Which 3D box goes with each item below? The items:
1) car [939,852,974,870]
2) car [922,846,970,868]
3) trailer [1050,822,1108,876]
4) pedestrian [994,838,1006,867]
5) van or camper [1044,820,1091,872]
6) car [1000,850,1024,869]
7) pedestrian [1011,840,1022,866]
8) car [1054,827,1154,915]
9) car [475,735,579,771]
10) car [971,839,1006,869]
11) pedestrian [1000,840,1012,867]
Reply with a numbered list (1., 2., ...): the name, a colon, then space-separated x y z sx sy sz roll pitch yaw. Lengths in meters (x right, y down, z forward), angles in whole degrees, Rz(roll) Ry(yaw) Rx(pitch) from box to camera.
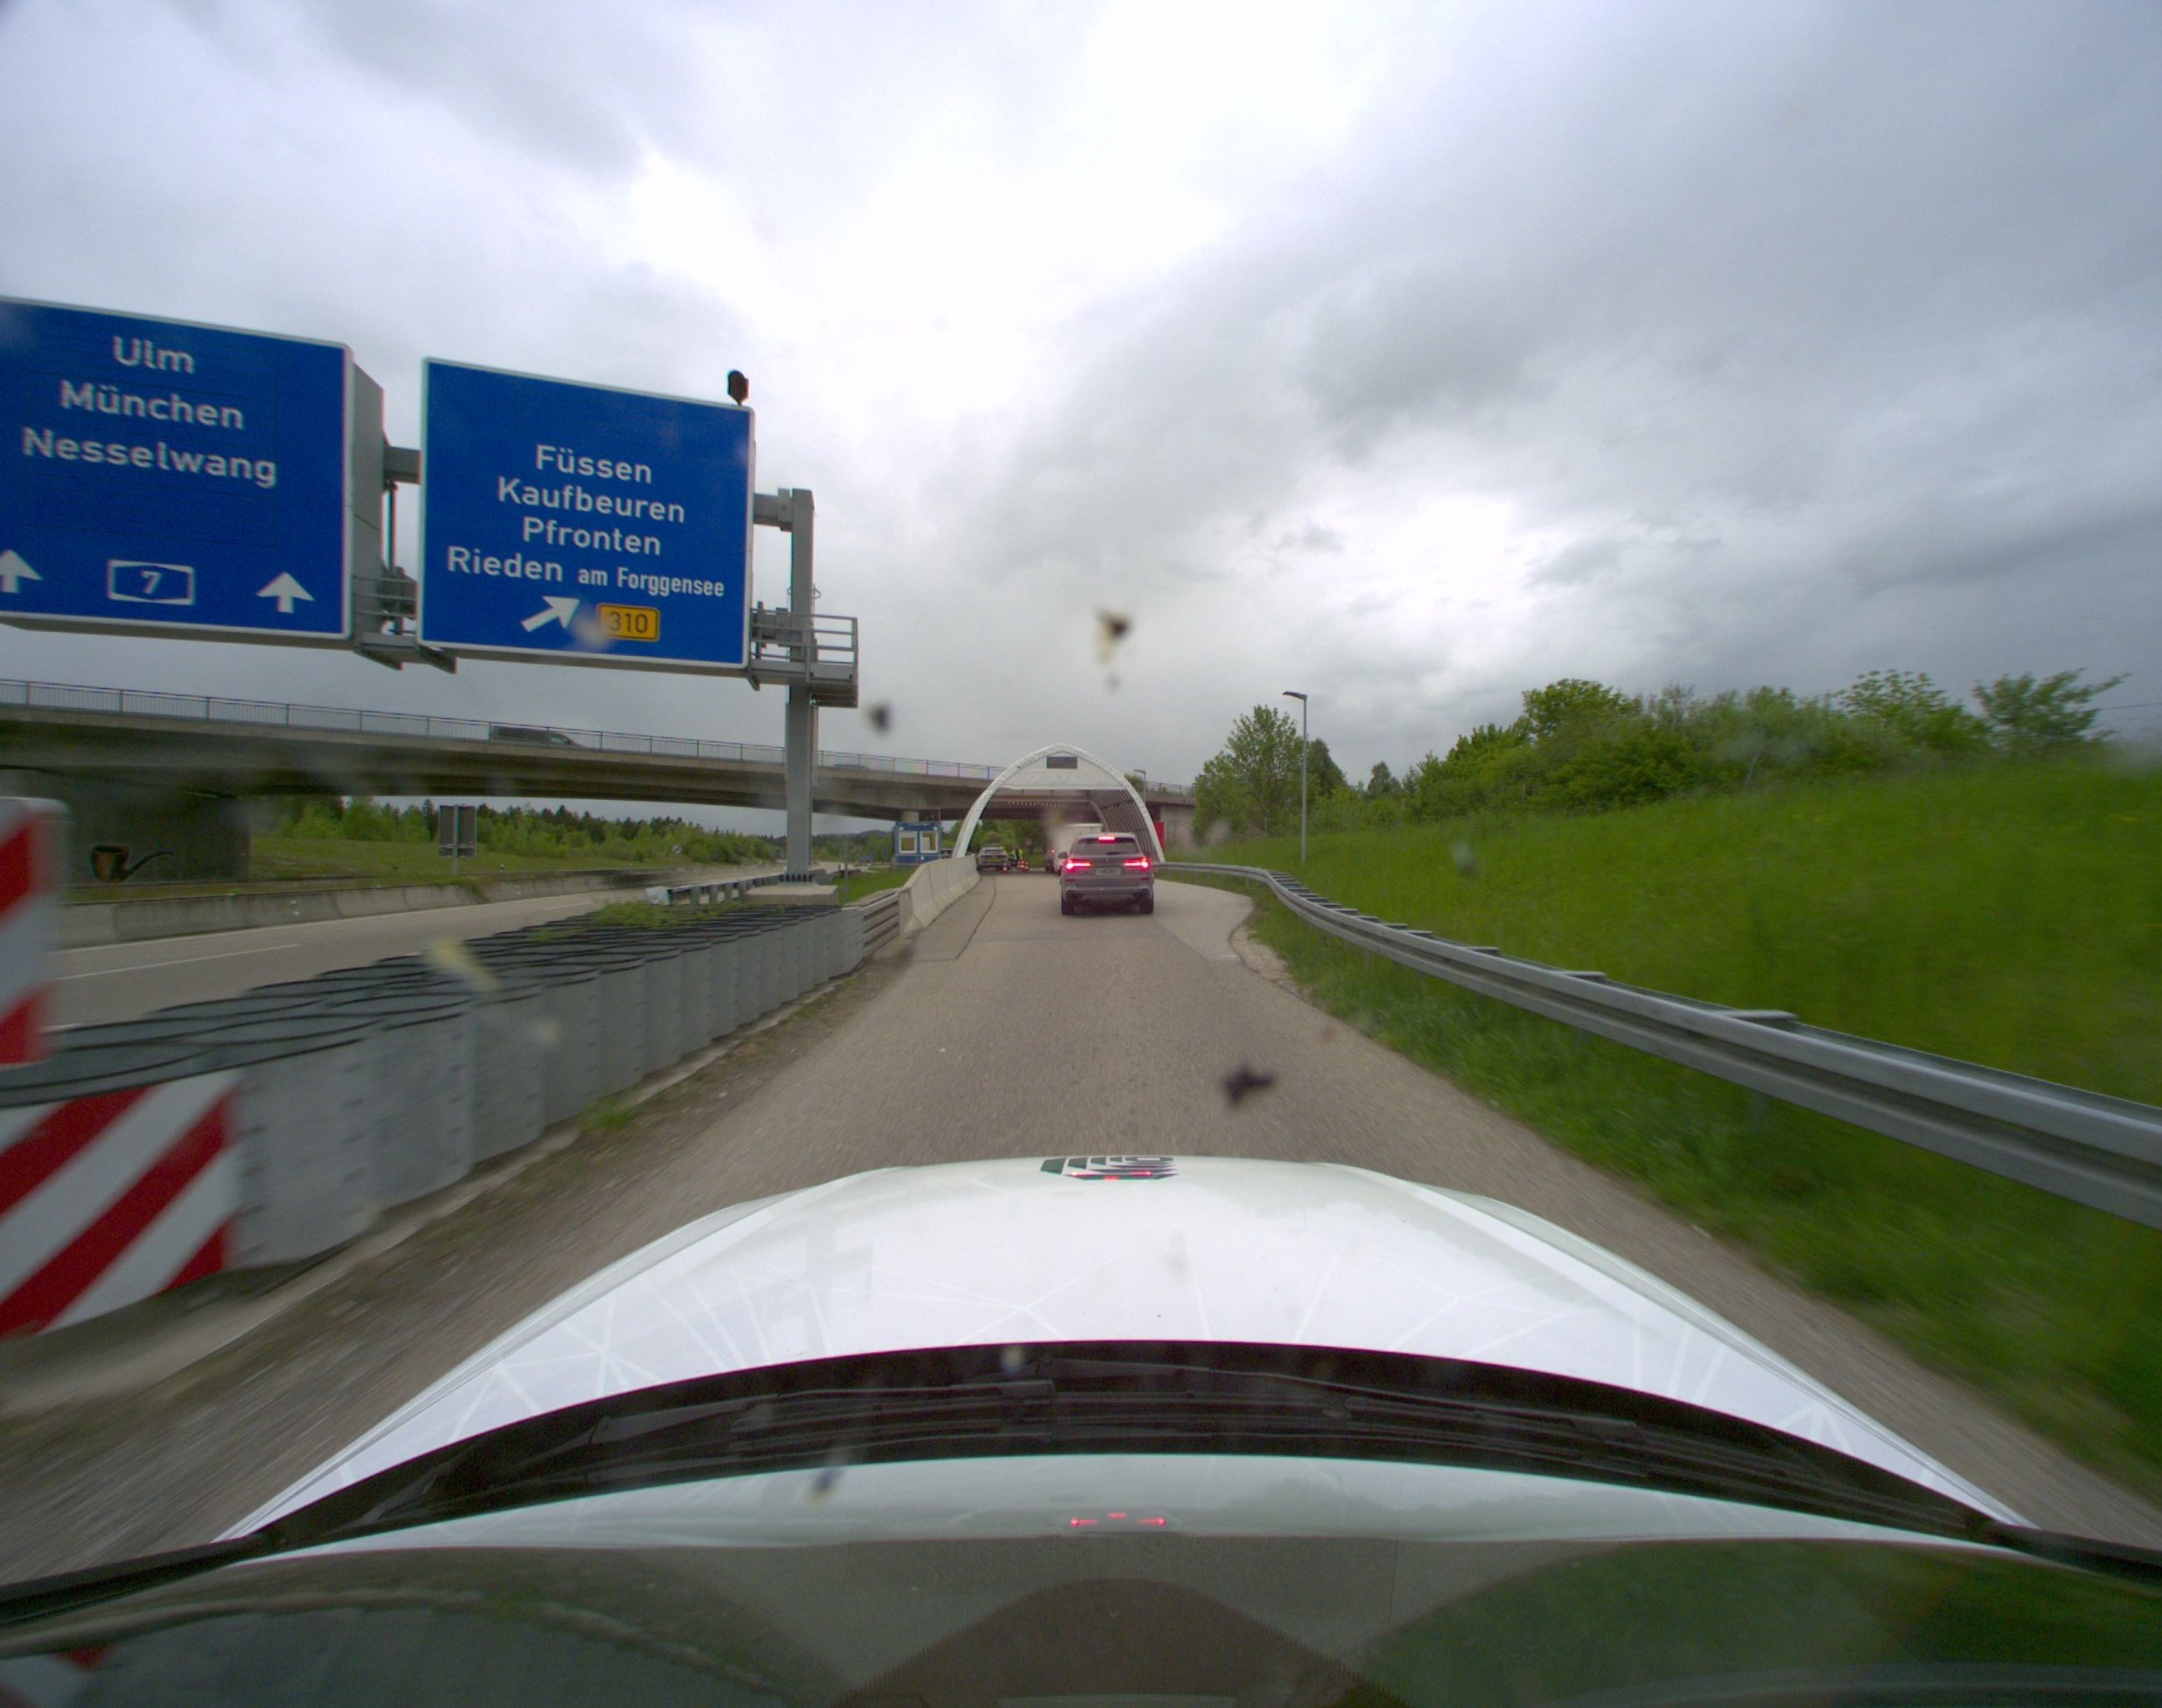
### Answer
1. car: -10.368 0.574 67.806 1.526 1.442 3.279 -2 0 -35
2. car: -12.462 0.280 75.082 3.967 1.854 1.712 -2 0 5
3. trailer: -0.220 -0.210 40.681 2.276 2.430 6.803 -1 -1 -5
4. pedestrian: -5.551 -0.098 55.978 0.720 1.945 0.688 -2 0 -10
5. van or camper: -0.870 -0.420 46.990 2.154 2.763 5.858 -1 -1 -6
6. car: -7.206 0.598 84.784 1.707 1.854 3.980 -2 0 -15
7. pedestrian: -4.467 -0.051 56.221 0.648 1.775 0.603 -2 0 -12
8. car: 0.610 0.347 18.454 1.984 1.719 4.005 -1 0 4
9. car: -32.546 -5.872 47.915 4.962 1.648 1.978 -2 0 -37
10. car: -5.999 0.000 52.352 1.994 1.772 3.752 -2 0 -10
11. pedestrian: -5.049 -0.029 54.951 0.720 1.775 0.688 -2 0 -10
